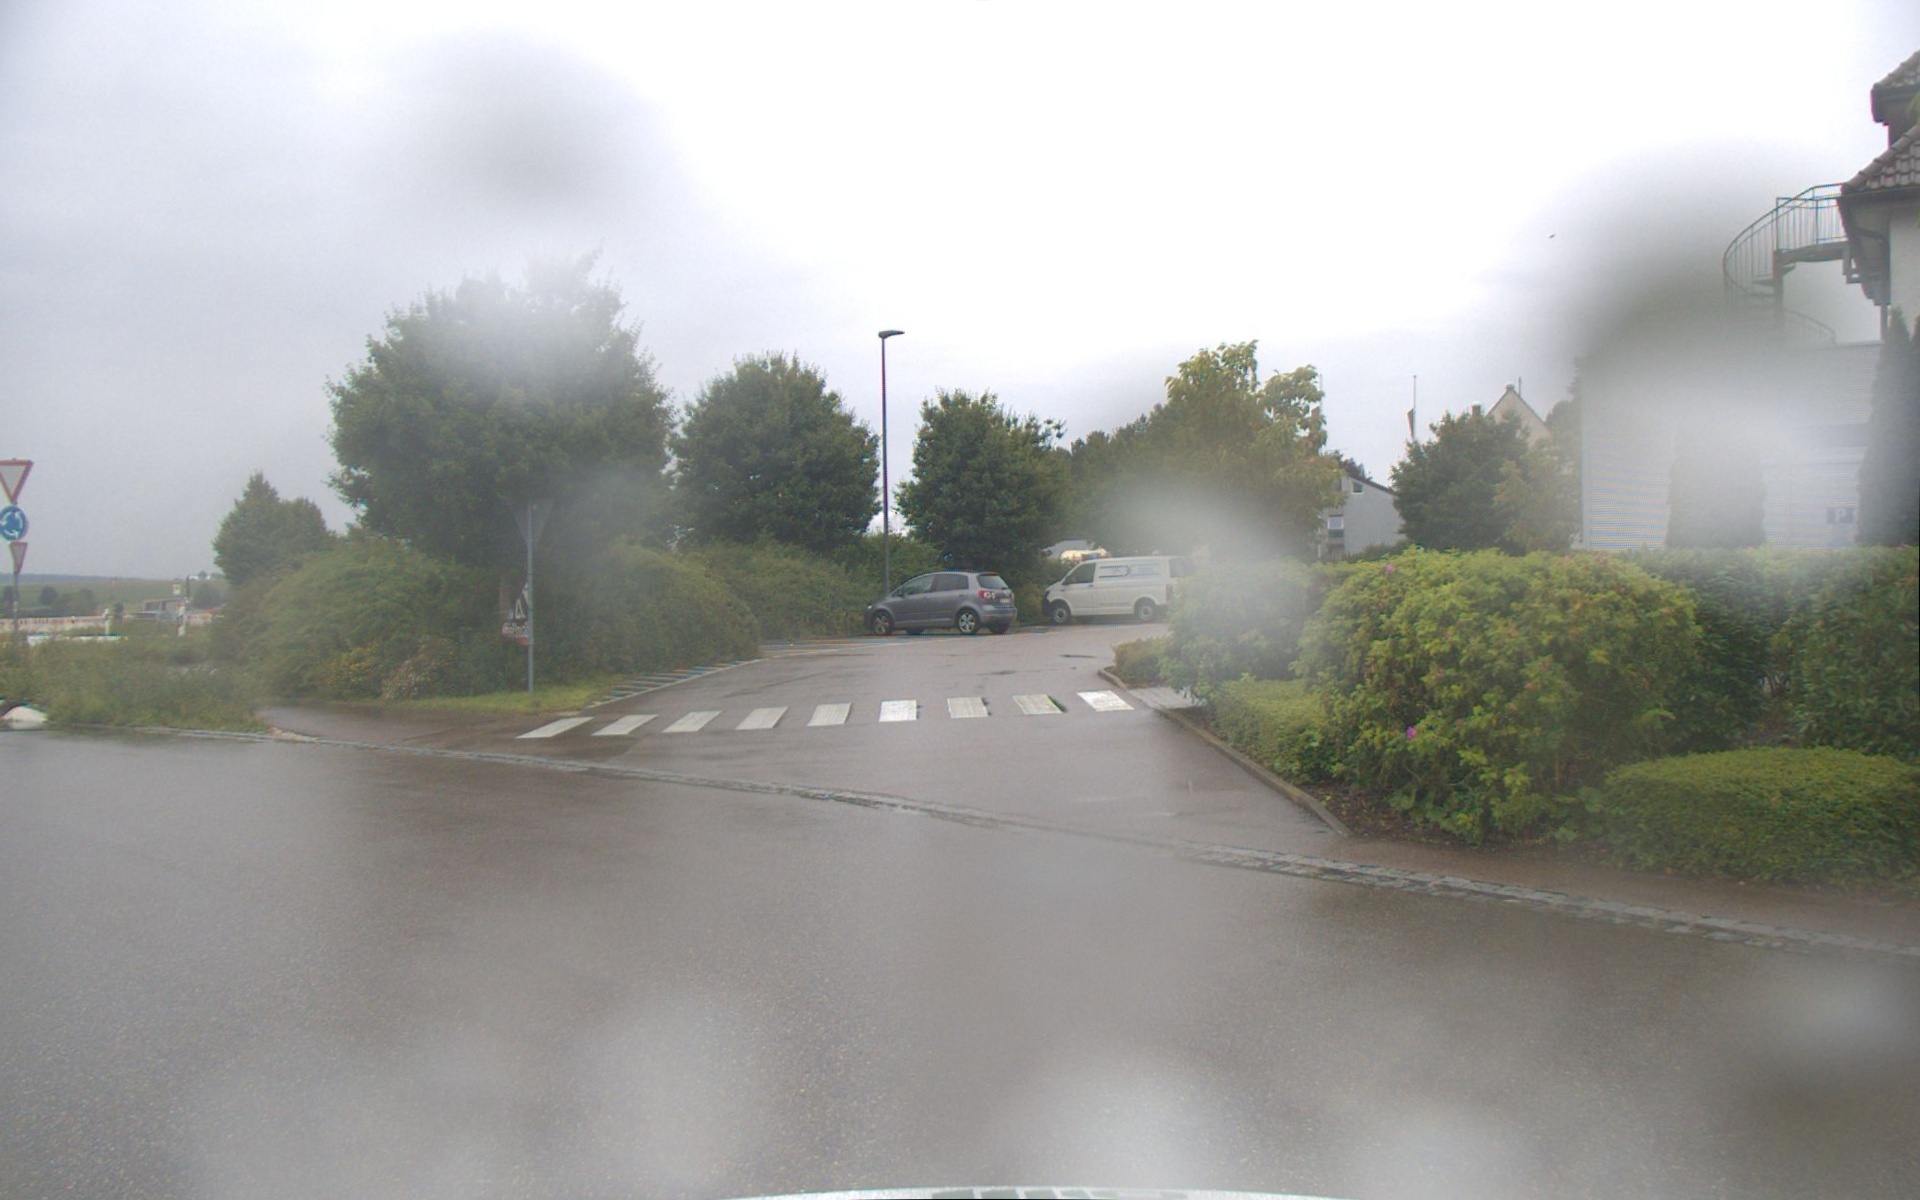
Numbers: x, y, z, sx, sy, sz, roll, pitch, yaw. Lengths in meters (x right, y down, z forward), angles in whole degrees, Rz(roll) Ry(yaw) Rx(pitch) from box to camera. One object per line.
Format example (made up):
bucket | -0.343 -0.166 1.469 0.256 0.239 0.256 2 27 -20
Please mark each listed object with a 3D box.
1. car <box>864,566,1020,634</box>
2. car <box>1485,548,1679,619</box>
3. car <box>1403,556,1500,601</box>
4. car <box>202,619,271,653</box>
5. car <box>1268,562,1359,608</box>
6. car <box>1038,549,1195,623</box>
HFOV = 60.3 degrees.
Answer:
car | -0.465 0.006 41.661 3.663 1.578 1.448 -2 1 31
car | 14.826 -0.387 39.464 4.097 1.523 1.715 -2 1 30
car | 17.240 -0.735 58.142 1.555 1.483 3.665 -2 1 -15
car | -28.683 1.412 65.674 1.281 1.243 3.332 -2 0 -1
car | 12.257 -0.509 57.544 1.555 1.483 3.665 -2 1 -15
car | 4.721 -0.419 50.117 4.437 2.068 1.642 -2 1 31
